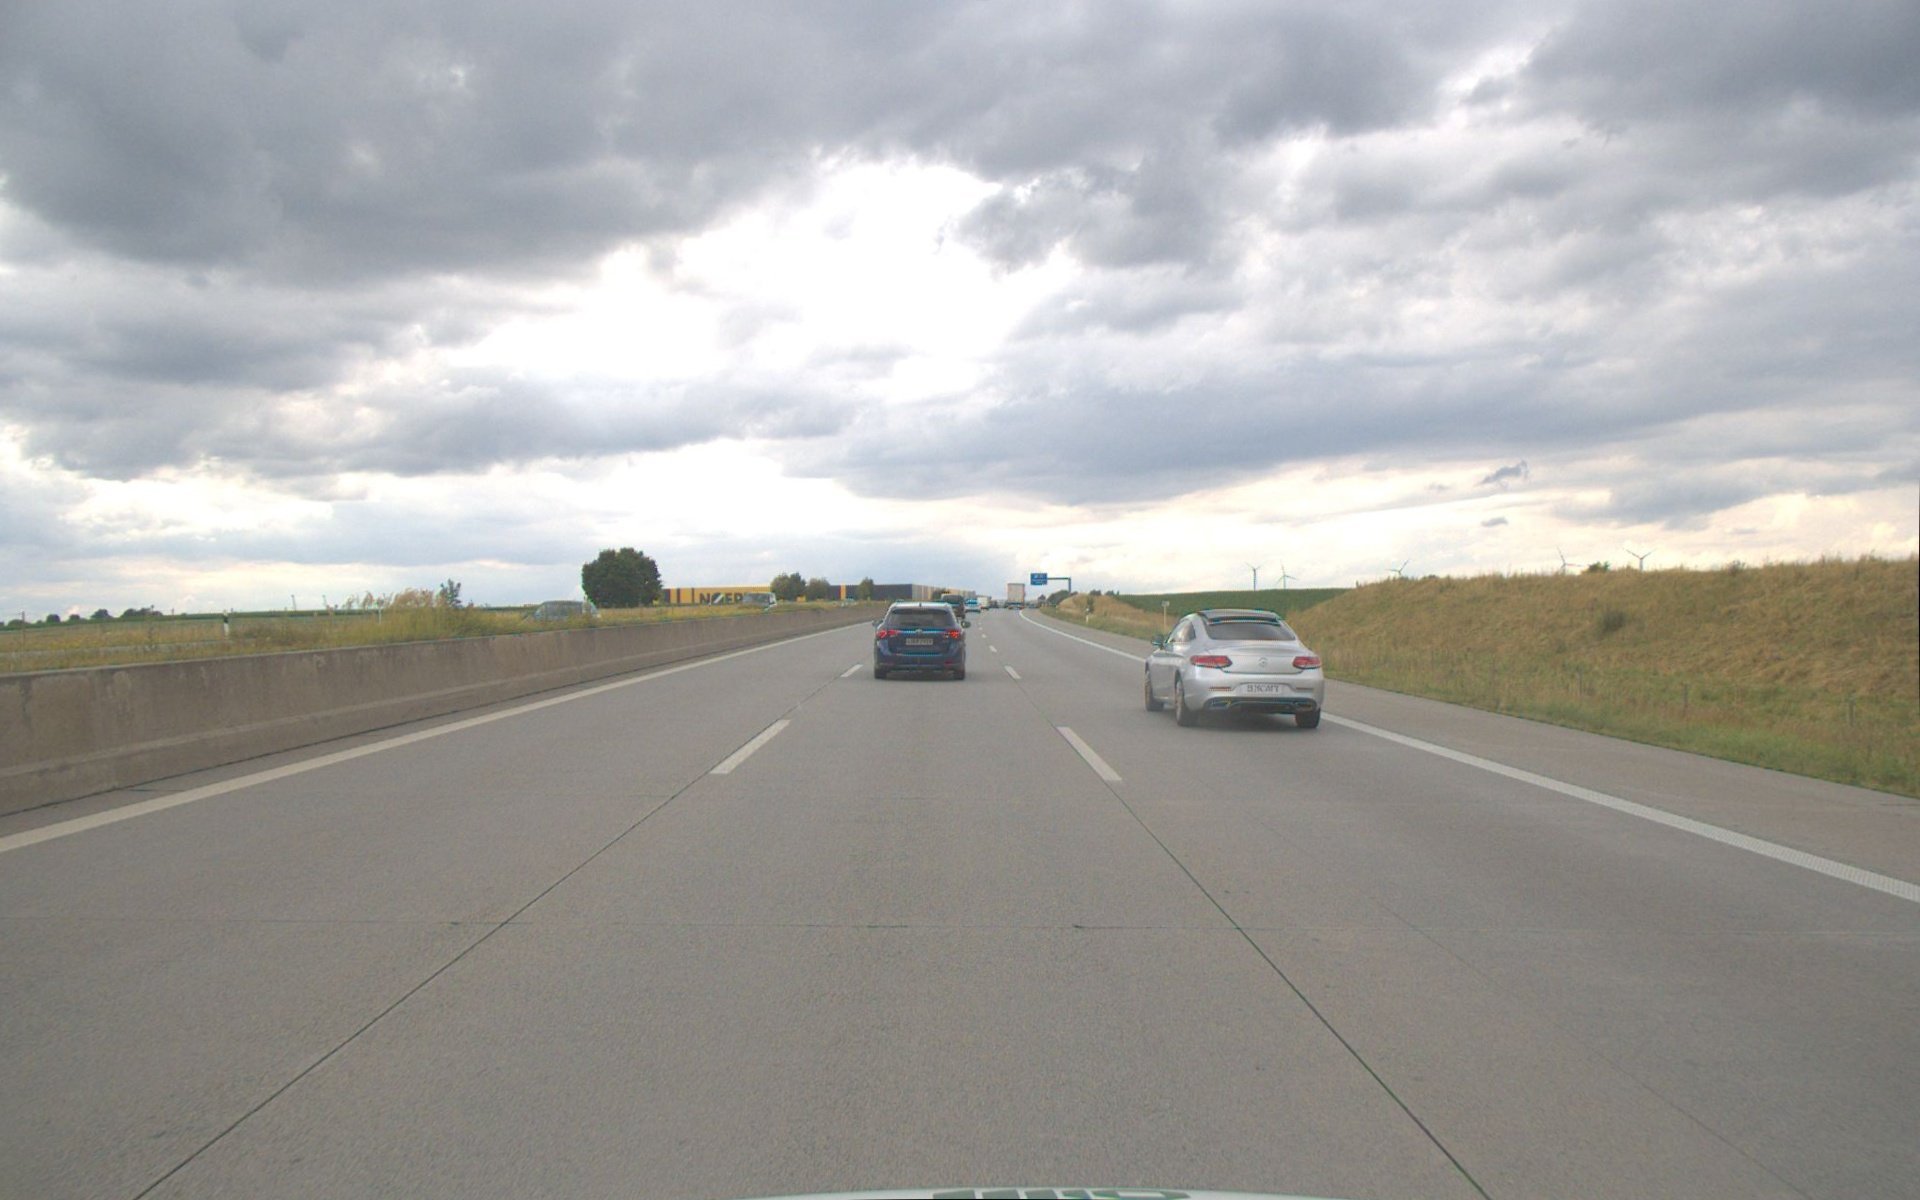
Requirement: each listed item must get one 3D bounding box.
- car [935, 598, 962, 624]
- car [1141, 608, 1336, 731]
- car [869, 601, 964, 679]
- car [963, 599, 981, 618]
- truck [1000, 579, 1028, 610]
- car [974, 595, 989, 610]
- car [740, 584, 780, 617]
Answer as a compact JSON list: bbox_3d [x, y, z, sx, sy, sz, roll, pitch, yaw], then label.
[{"bbox_3d":[-0.910,0.877,129.965,1.953,2.049,3.998,1,-1,-2],"label":"car"},{"bbox_3d":[3.495,0.825,21.490,1.752,1.428,4.220,0,0,-1],"label":"car"},{"bbox_3d":[-0.824,0.756,32.573,1.738,1.438,3.999,0,0,-1],"label":"car"},{"bbox_3d":[1.329,0.921,187.118,1.952,2.049,4.000,2,0,1],"label":"car"},{"bbox_3d":[8.580,-0.824,265.595,3.870,4.839,12.073,1,-1,-1],"label":"truck"},{"bbox_3d":[3.106,0.375,237.416,1.953,2.049,3.999,1,-1,-1],"label":"car"},{"bbox_3d":[-12.730,0.001,105.521,1.953,2.049,4.629,1,1,-1],"label":"car"}]
